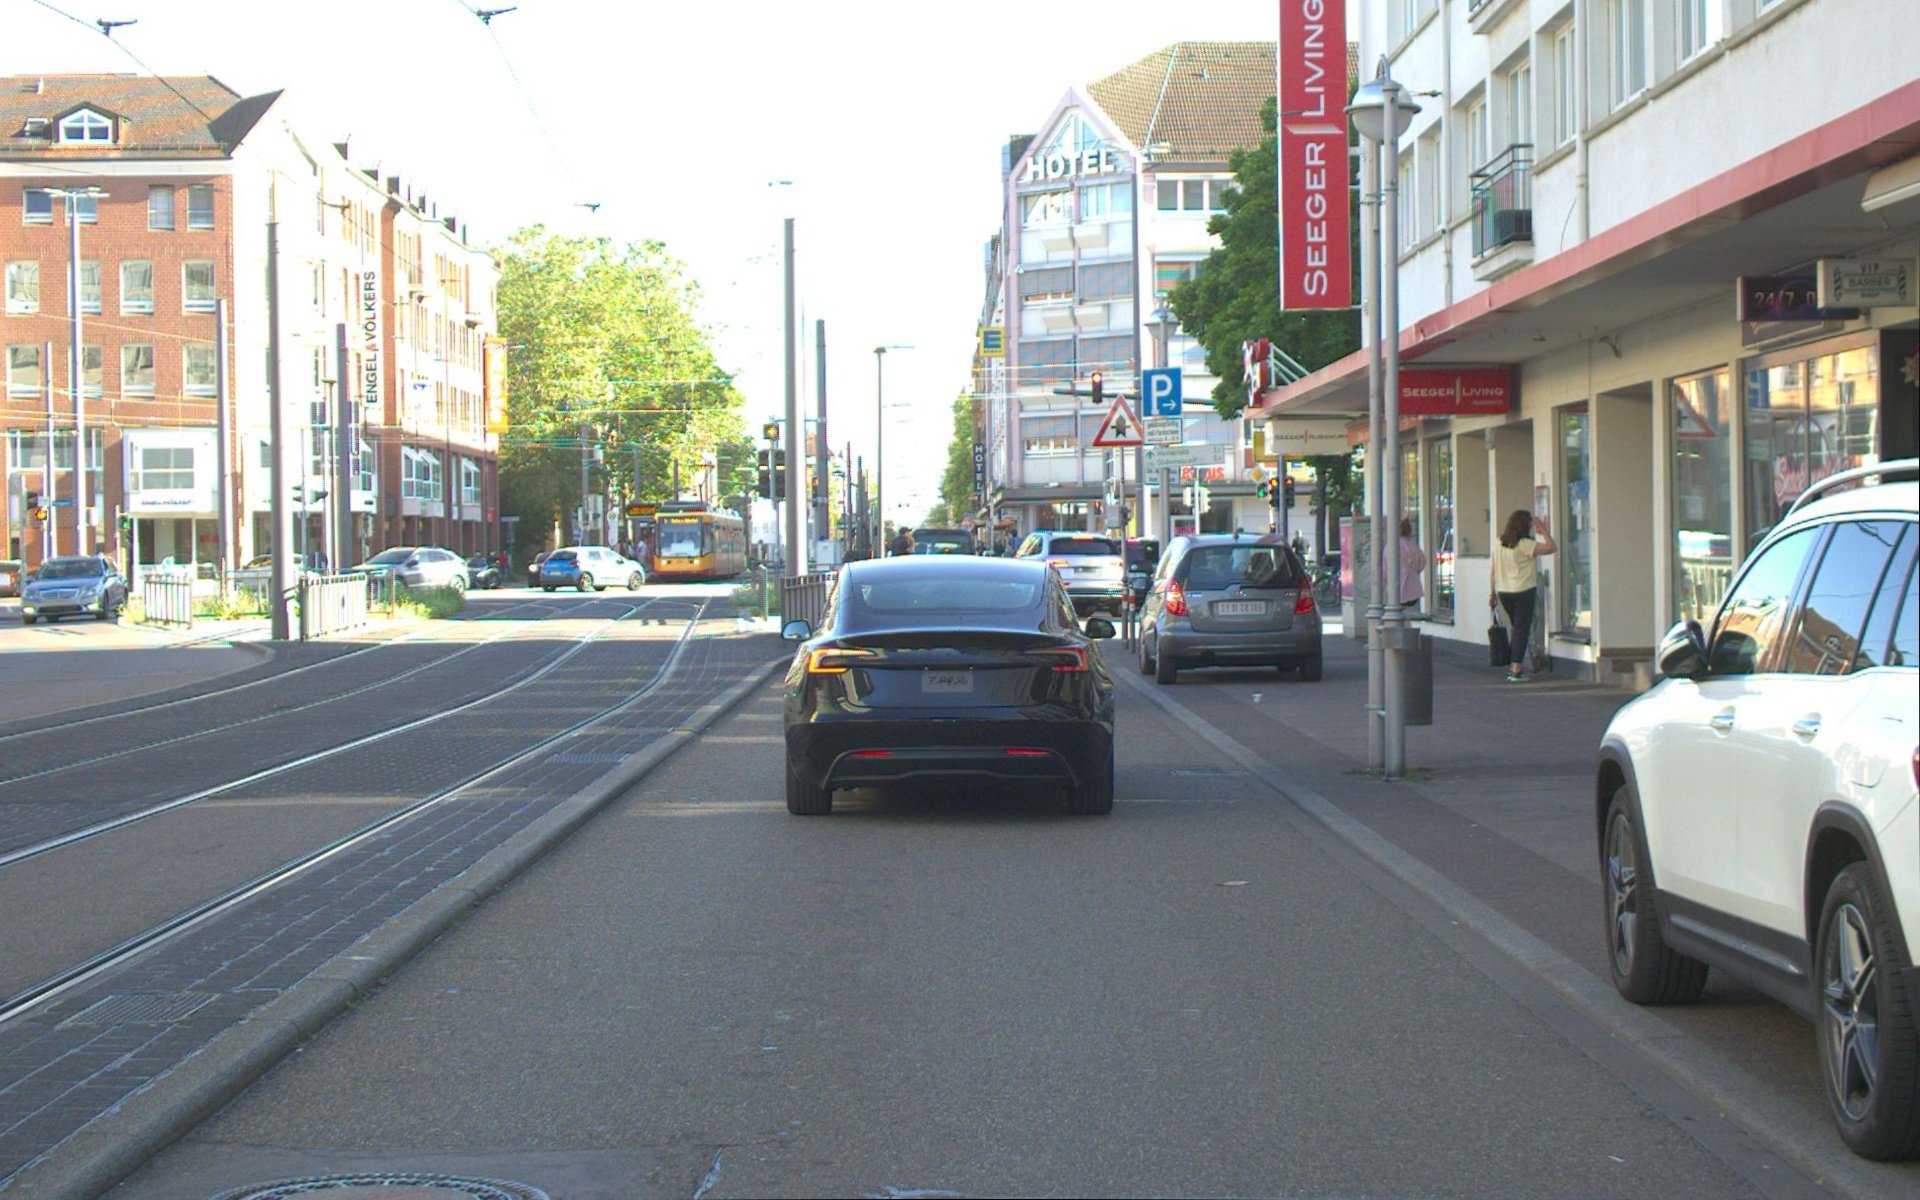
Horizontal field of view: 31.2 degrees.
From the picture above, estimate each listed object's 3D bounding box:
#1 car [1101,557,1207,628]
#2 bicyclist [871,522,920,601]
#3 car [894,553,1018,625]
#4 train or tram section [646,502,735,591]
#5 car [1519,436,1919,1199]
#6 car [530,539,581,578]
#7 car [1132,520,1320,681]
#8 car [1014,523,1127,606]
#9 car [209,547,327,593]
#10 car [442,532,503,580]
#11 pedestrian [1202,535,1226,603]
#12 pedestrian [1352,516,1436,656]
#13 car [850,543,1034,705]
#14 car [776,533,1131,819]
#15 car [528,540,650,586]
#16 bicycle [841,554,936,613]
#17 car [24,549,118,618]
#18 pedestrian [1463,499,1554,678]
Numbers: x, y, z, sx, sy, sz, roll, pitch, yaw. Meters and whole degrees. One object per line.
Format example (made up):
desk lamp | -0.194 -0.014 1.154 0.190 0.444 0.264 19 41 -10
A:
car | 4.321 -0.193 77.045 1.824 1.514 3.650 1 1 -5
bicyclist | -1.245 -0.747 66.158 0.836 1.494 0.560 1 0 -8
car | -0.128 -0.273 76.494 1.824 1.514 4.219 1 1 -13
train or tram section | -11.896 -2.358 152.844 2.674 3.703 14.193 1 1 0
car | 2.976 0.448 9.620 1.849 1.718 5.193 -2 1 -1
car | -17.795 -1.805 151.383 1.751 1.645 4.000 1 1 0
car | 2.860 -0.037 37.651 1.745 1.626 3.649 -2 1 0
car | 2.101 -0.693 66.421 1.783 1.514 4.218 1 1 -3
car | -24.086 -1.051 119.592 3.997 1.465 1.995 2 1 42
car | -21.009 -1.920 148.334 1.993 2.007 4.000 -1 1 0
pedestrian | 6.300 -0.765 85.201 0.562 1.677 0.750 1 1 5
pedestrian | 5.327 -0.174 42.164 0.818 1.677 0.714 2 0 23
car | -0.148 0.185 33.416 1.653 1.413 4.000 1 1 1
car | -0.078 0.383 19.975 1.849 1.479 3.787 1 1 -1
car | -12.346 -1.228 114.535 1.997 1.415 3.993 2 1 31
bicycle | -1.381 -0.322 66.126 1.727 1.084 0.678 1 0 -8
car | -20.306 -0.388 78.656 1.880 1.490 4.932 -1 1 -13
pedestrian | 5.519 -0.120 34.545 0.804 1.768 0.932 -1 0 14
